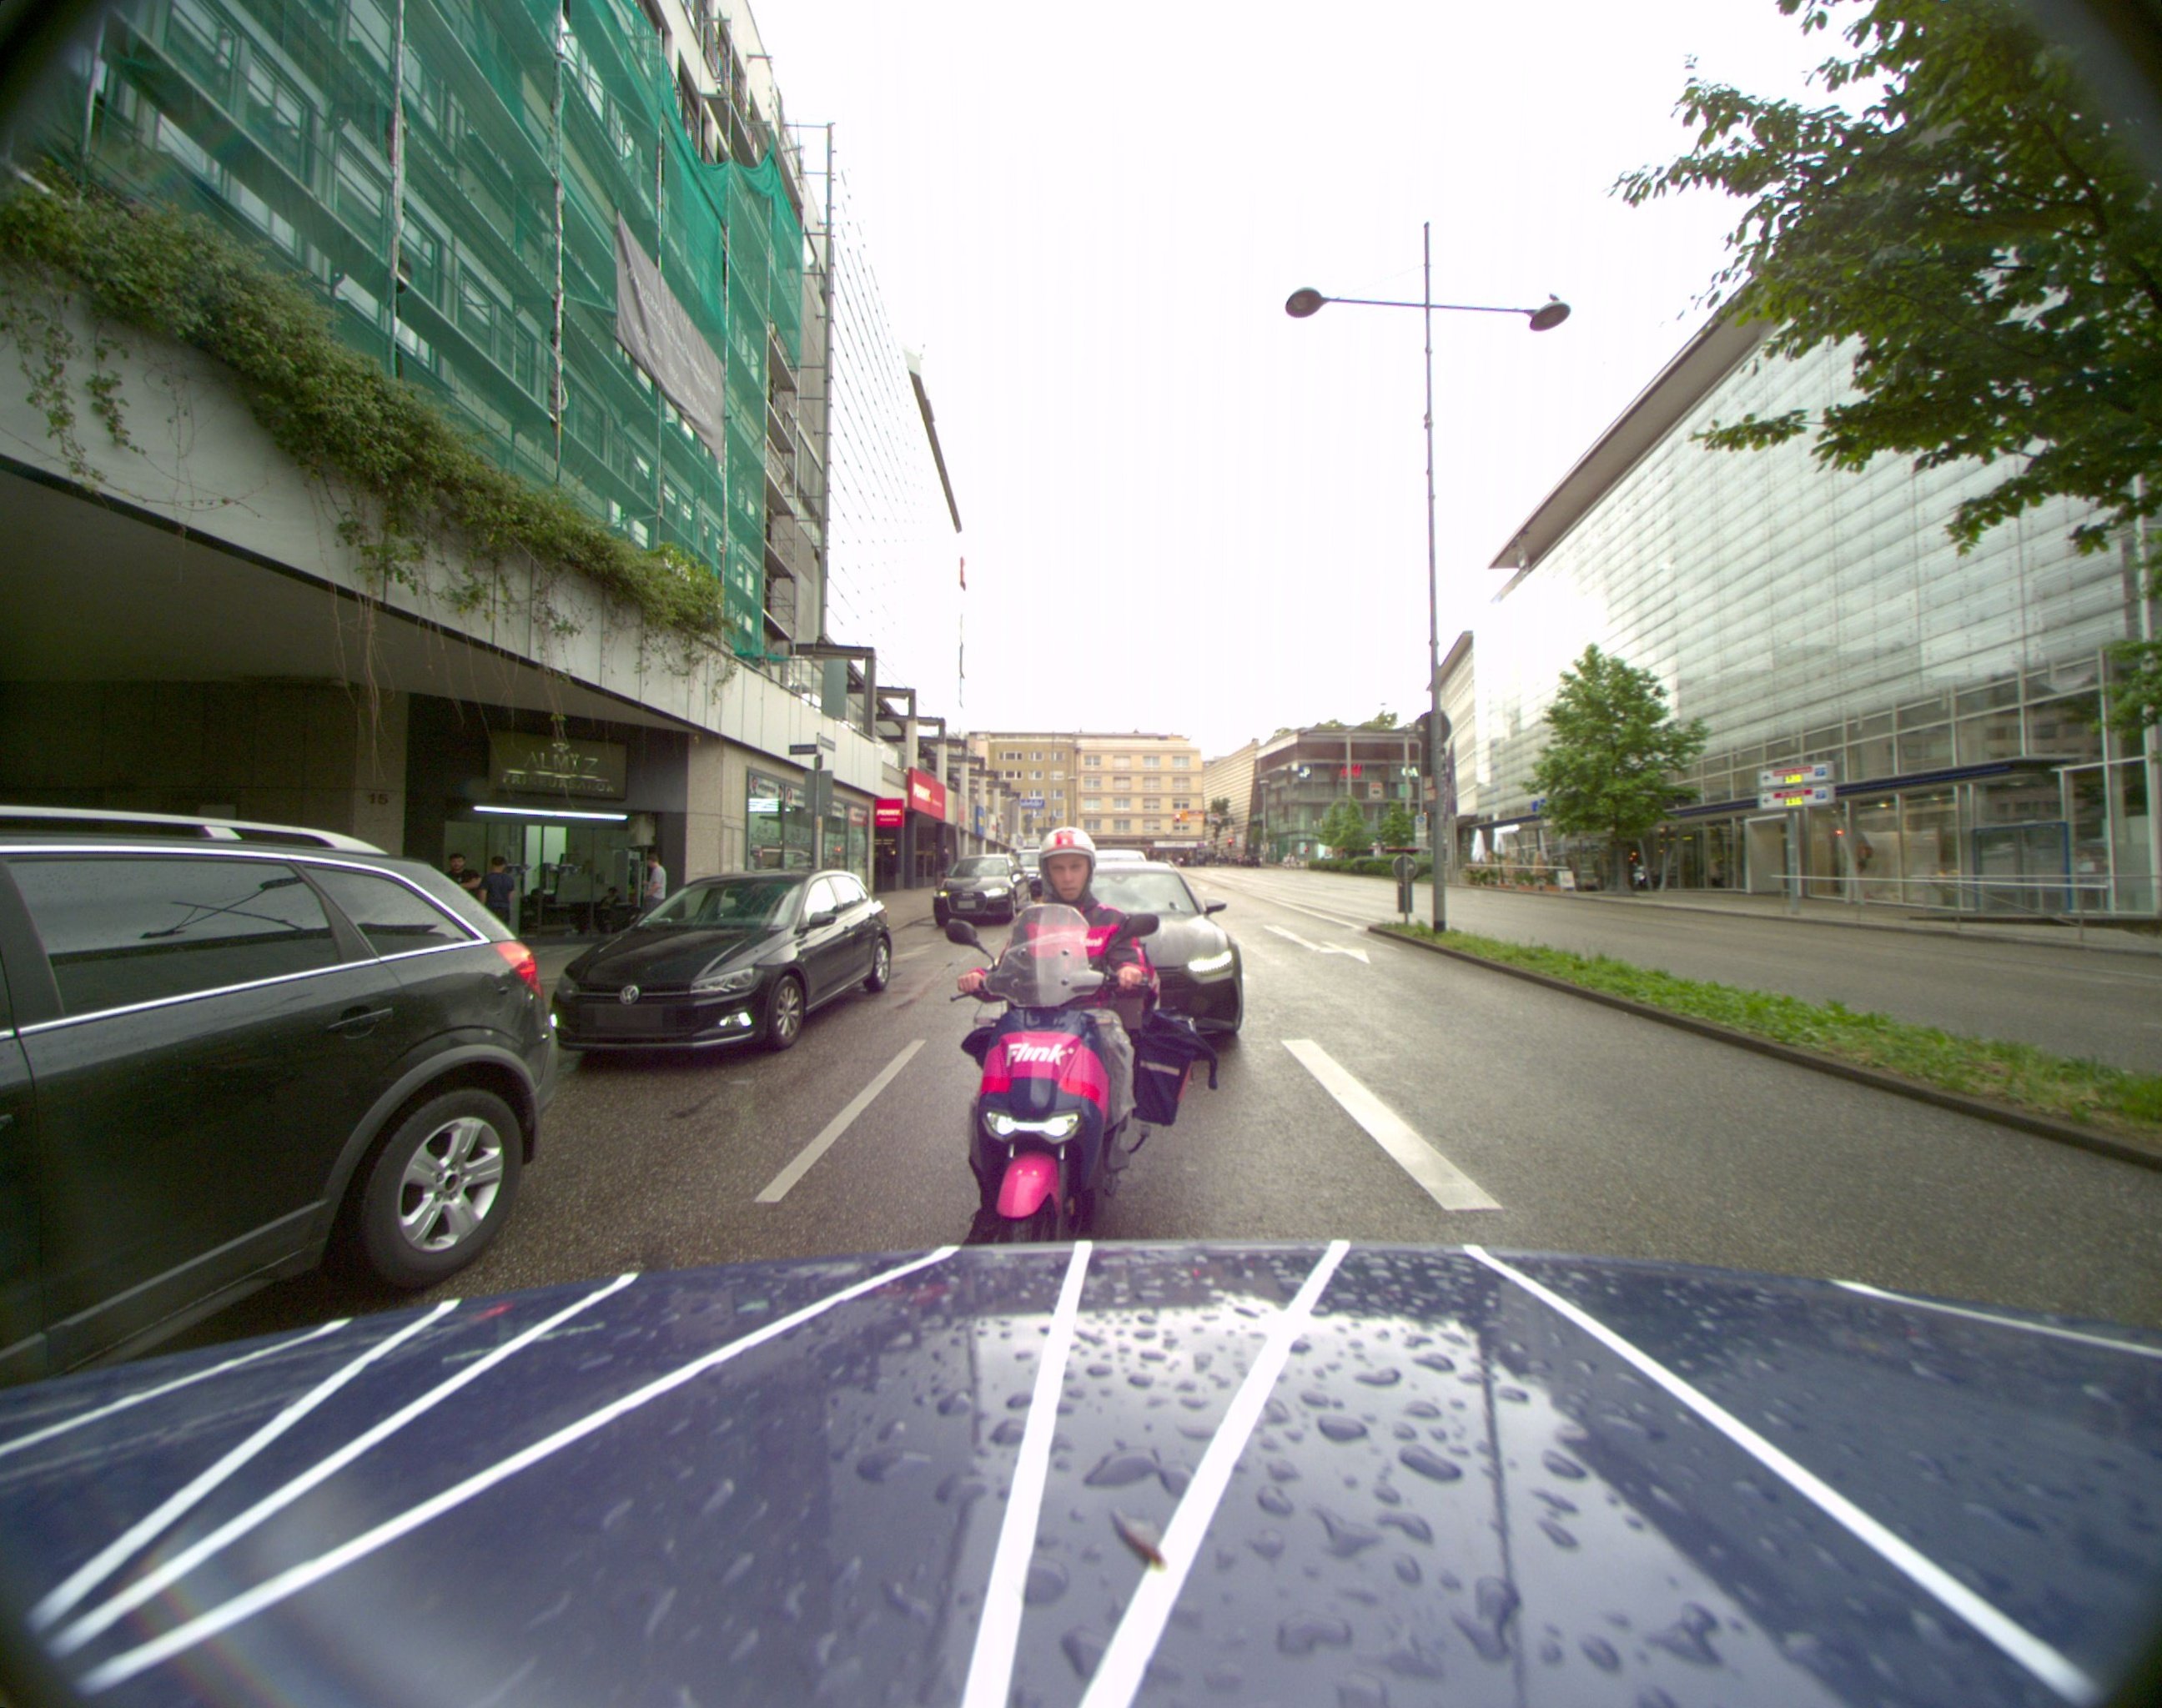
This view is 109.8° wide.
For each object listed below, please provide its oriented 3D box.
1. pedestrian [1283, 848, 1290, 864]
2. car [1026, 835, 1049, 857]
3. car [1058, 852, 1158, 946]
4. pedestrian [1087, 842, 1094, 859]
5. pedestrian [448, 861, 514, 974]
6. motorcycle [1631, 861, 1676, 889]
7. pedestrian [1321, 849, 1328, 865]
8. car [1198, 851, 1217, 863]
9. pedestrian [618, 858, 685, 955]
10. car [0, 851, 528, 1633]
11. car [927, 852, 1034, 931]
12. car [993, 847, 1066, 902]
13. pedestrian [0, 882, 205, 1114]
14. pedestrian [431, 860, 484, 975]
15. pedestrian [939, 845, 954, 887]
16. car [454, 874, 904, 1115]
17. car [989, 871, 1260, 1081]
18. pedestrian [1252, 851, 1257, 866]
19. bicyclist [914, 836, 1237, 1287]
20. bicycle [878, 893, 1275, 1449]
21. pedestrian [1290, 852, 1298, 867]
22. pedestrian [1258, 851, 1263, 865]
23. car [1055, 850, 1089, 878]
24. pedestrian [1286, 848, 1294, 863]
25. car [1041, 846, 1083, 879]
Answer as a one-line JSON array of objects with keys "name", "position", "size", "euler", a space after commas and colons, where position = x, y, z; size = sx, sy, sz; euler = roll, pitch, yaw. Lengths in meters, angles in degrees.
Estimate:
[{"name": "pedestrian", "position": [23.013, 0.264, 85.273], "size": [0.626, 1.764, 0.689], "euler": [-2, 2, 7]}, {"name": "car", "position": [-4.152, -0.796, 72.745], "size": [1.605, 2.002, 3.400], "euler": [-2, 1, 7]}, {"name": "car", "position": [0.560, 0.774, 15.180], "size": [1.675, 1.520, 4.164], "euler": [-2, 1, 2]}, {"name": "pedestrian", "position": [0.920, -0.324, 75.099], "size": [0.634, 1.620, 0.602], "euler": [0, 1, -1]}, {"name": "pedestrian", "position": [-8.933, 0.920, 11.339], "size": [0.640, 1.586, 0.576], "euler": [-3, 2, -32]}, {"name": "motorcycle", "position": [28.015, 1.021, 37.187], "size": [1.707, 1.319, 0.620], "euler": [0, 1, 1]}, {"name": "pedestrian", "position": [26.853, 0.296, 83.780], "size": [0.626, 1.764, 0.689], "euler": [-2, 2, 5]}, {"name": "car", "position": [22.618, 0.498, 135.901], "size": [2.000, 2.002, 4.584], "euler": [0, 1, -7]}, {"name": "pedestrian", "position": [-7.538, 0.897, 13.340], "size": [0.732, 1.633, 0.640], "euler": [-1, 2, 25]}, {"name": "car", "position": [-3.336, 0.893, 1.228], "size": [1.764, 1.755, 4.164], "euler": [-2, 0, 0]}, {"name": "car", "position": [-2.292, 0.802, 18.405], "size": [1.841, 1.598, 4.164], "euler": [-2, 1, 2]}, {"name": "car", "position": [-1.676, 0.672, 26.157], "size": [1.988, 1.696, 4.165], "euler": [-2, 0, 2]}, {"name": "pedestrian", "position": [-8.223, 1.158, 6.409], "size": [0.743, 1.805, 0.773], "euler": [0, 1, 1]}, {"name": "pedestrian", "position": [-9.603, 0.953, 11.700], "size": [0.466, 1.698, 0.484], "euler": [0, 2, 42]}, {"name": "pedestrian", "position": [-5.314, 0.473, 30.087], "size": [0.510, 1.669, 0.579], "euler": [0, 2, 0]}, {"name": "car", "position": [-3.196, 1.007, 7.167], "size": [1.758, 1.495, 4.165], "euler": [-2, -1, 4]}, {"name": "car", "position": [0.393, 0.924, 7.505], "size": [1.890, 1.391, 4.165], "euler": [-2, -1, 2]}, {"name": "pedestrian", "position": [19.809, 0.518, 86.835], "size": [0.428, 1.620, 0.602], "euler": [1, 1, 3]}, {"name": "bicyclist", "position": [-0.010, 0.715, 3.031], "size": [1.063, 1.534, 0.825], "euler": [-2, 2, 0]}, {"name": "bicycle", "position": [0.007, 0.942, 3.531], "size": [1.034, 1.279, 2.948], "euler": [-2, 1, 1]}, {"name": "pedestrian", "position": [22.686, 0.551, 80.991], "size": [0.633, 1.620, 0.602], "euler": [1, 1, 4]}, {"name": "pedestrian", "position": [19.926, 0.432, 84.268], "size": [0.428, 1.620, 0.602], "euler": [1, 1, 5]}, {"name": "car", "position": [-0.544, 0.658, 49.559], "size": [1.988, 1.696, 4.165], "euler": [-2, 0, 2]}, {"name": "pedestrian", "position": [22.551, 0.161, 81.967], "size": [0.633, 1.620, 0.602], "euler": [0, 1, 2]}, {"name": "car", "position": [-0.985, 0.462, 41.525], "size": [1.988, 1.696, 4.165], "euler": [-2, 0, 2]}]
